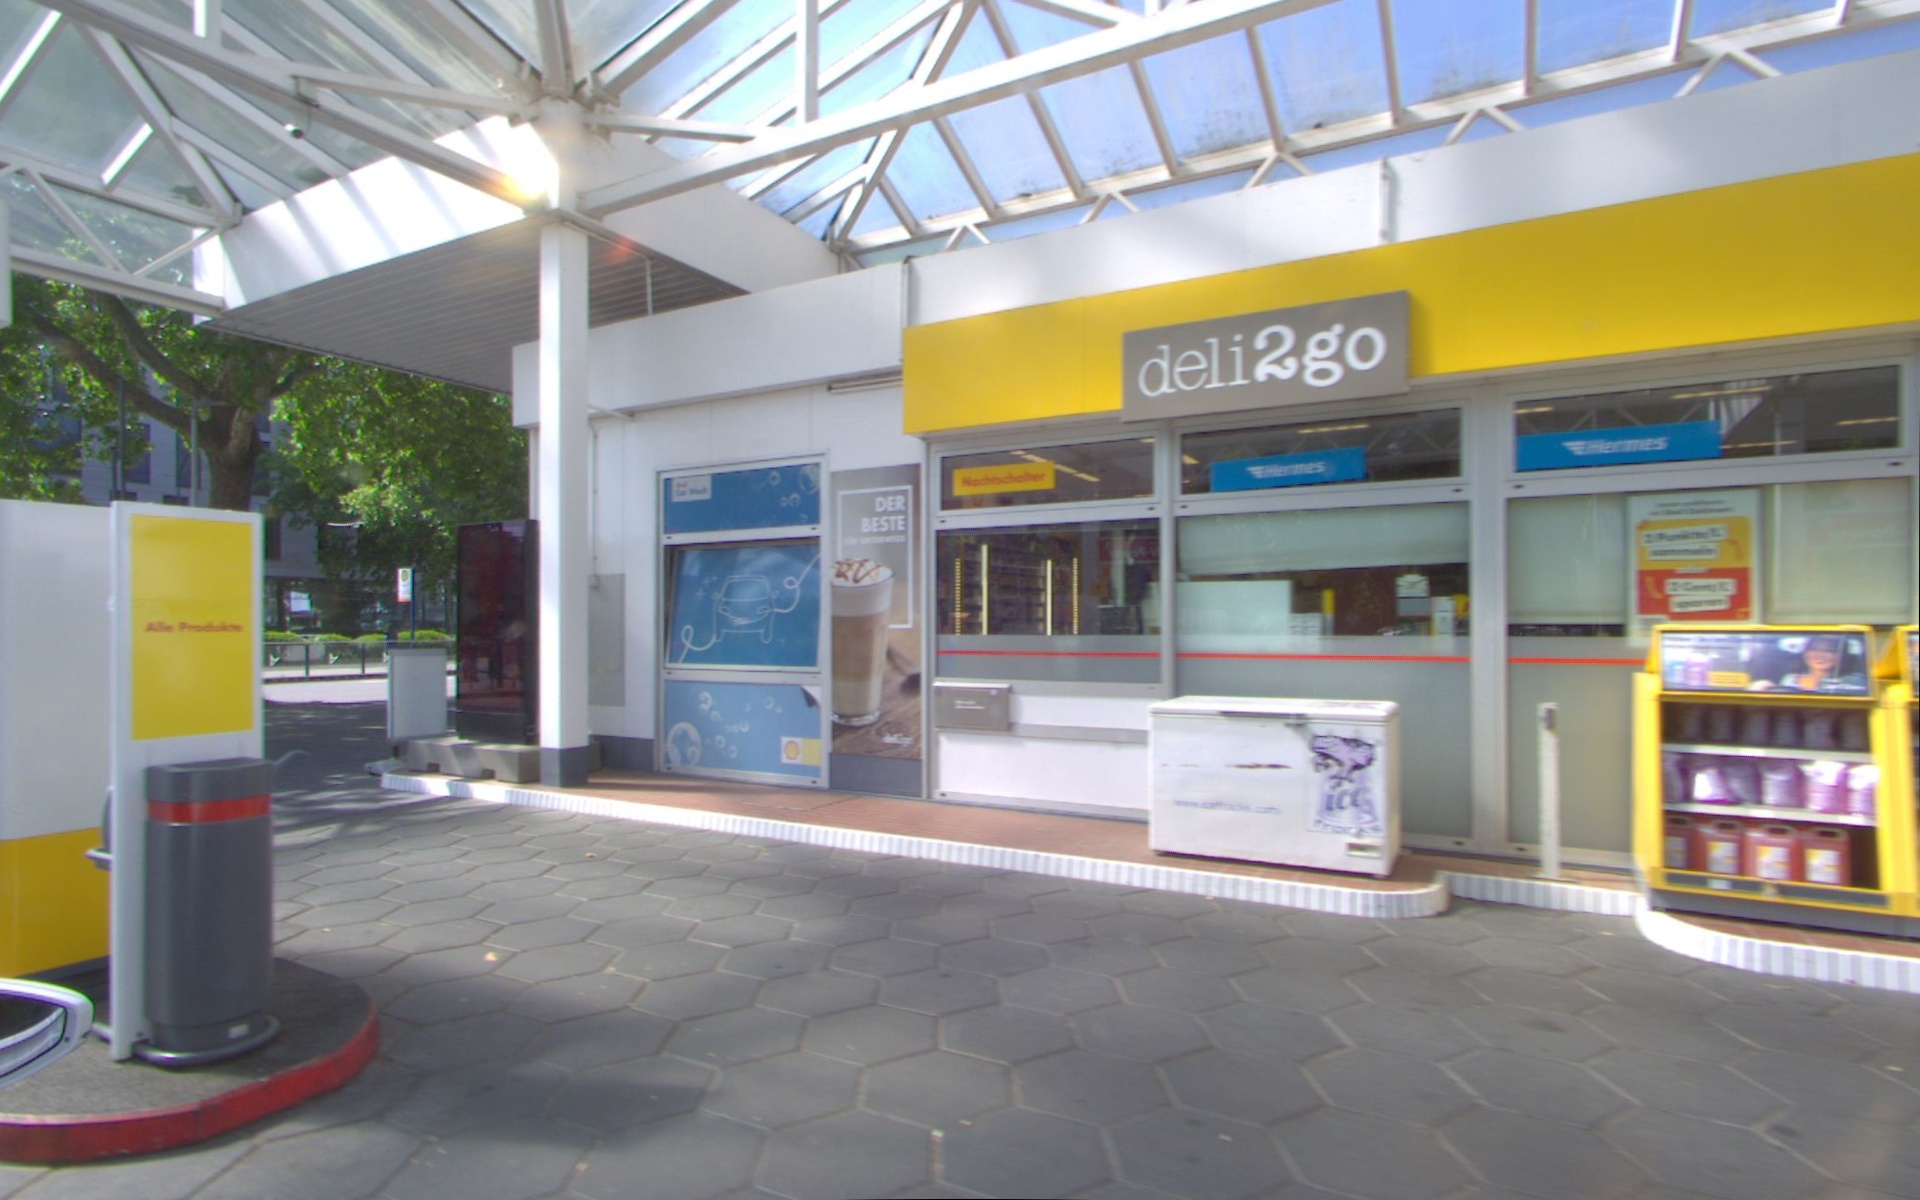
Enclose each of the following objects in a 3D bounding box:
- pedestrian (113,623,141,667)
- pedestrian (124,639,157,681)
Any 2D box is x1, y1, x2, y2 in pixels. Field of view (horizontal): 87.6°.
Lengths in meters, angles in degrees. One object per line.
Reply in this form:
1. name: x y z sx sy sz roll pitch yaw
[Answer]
1. pedestrian: -23.417 1.267 28.161 0.400 1.235 0.498 0 -1 32
2. pedestrian: -23.271 1.702 28.439 0.517 1.152 0.626 0 -1 36
